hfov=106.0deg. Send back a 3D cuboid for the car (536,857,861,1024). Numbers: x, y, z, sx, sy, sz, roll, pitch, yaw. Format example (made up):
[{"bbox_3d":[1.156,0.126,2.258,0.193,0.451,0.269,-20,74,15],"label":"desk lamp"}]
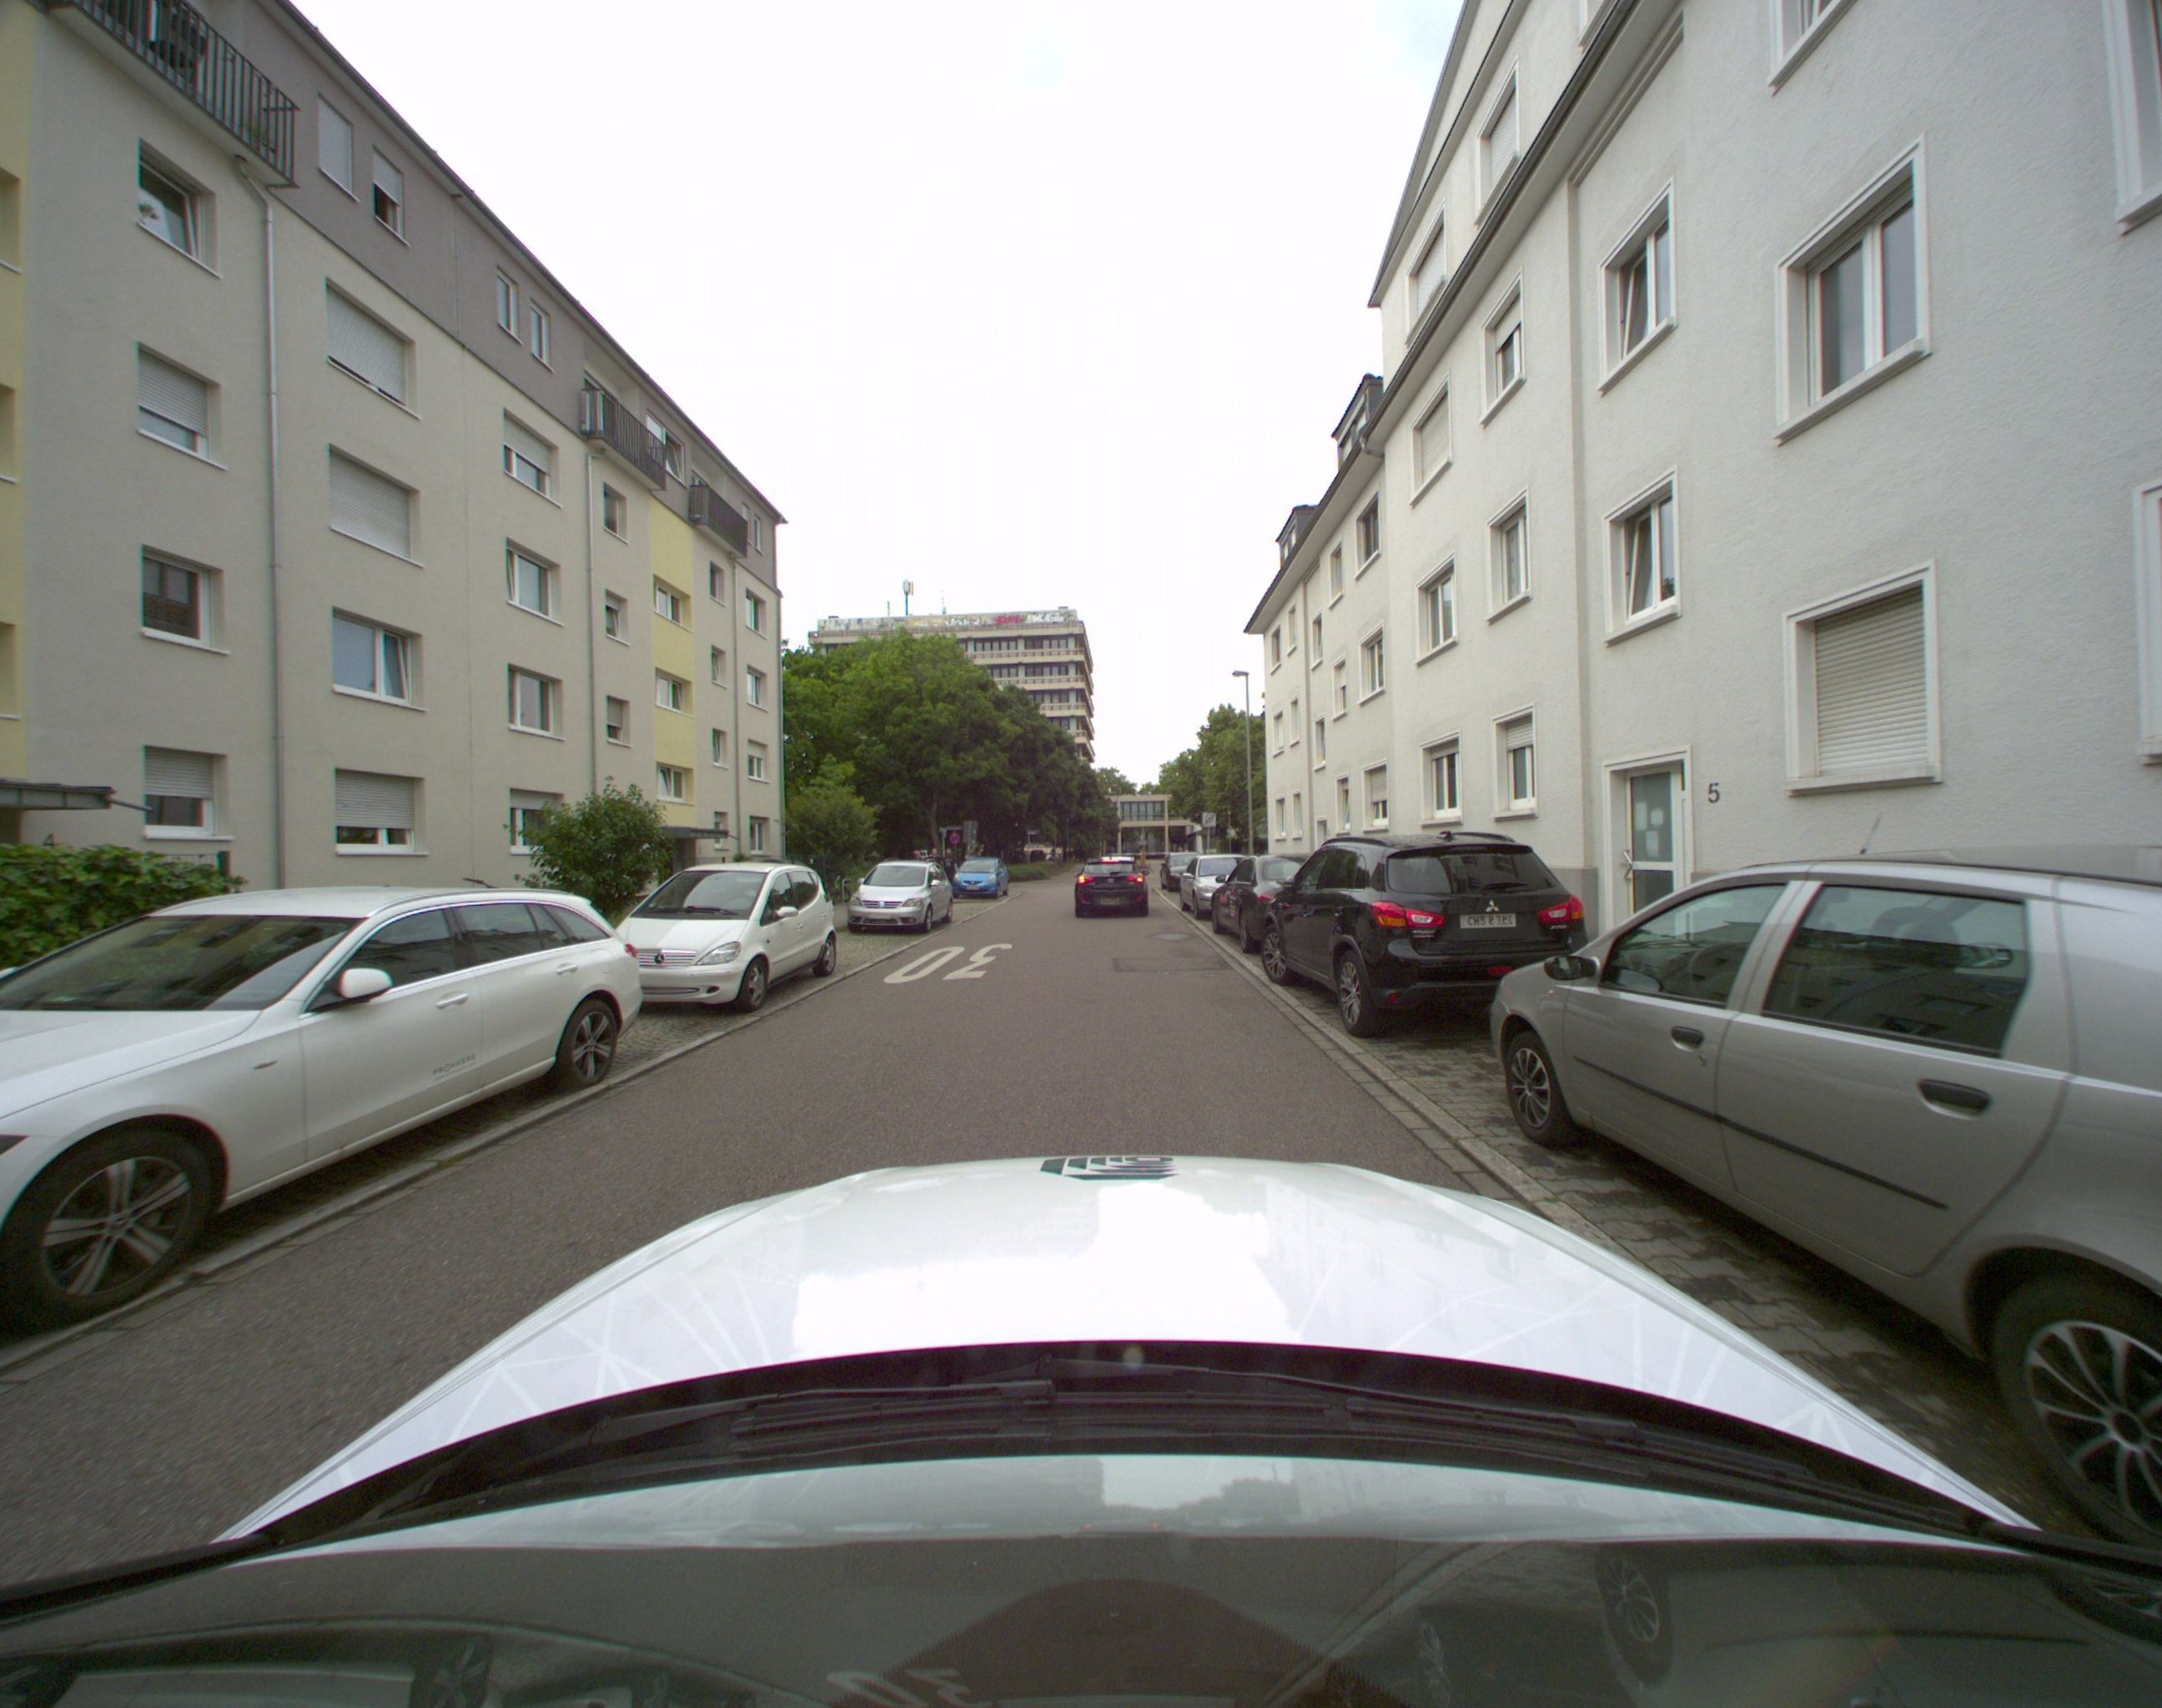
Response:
[{"bbox_3d":[-4.417,0.869,10.363,1.888,1.599,4.521,1,0,1],"label":"car"}]

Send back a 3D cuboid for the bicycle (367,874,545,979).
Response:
[{"bbox_3d":[-8.295,0.912,10.960,0.728,1.211,2.091,-1,0,2],"label":"bicycle"}]

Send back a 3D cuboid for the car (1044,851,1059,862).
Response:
[{"bbox_3d":[-3.738,0.257,102.914,1.659,1.333,3.397,-1,0,2],"label":"car"}]

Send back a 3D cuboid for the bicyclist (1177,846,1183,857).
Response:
[{"bbox_3d":[13.670,-0.335,112.500,0.690,1.444,0.796,-1,0,3],"label":"bicyclist"}]

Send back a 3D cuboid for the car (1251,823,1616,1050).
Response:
[{"bbox_3d":[2.976,0.595,7.938,1.814,1.603,4.091,-1,0,1],"label":"car"}]

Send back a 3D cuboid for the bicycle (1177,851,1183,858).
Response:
[{"bbox_3d":[13.666,0.088,112.491,0.690,0.997,1.736,-1,0,3],"label":"bicycle"}]

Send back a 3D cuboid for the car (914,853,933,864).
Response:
[{"bbox_3d":[-20.033,0.506,103.782,1.659,1.333,3.397,-1,0,2],"label":"car"}]

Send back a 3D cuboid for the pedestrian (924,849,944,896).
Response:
[{"bbox_3d":[-5.913,0.736,32.736,0.602,1.831,0.676,-1,0,3],"label":"pedestrian"}]

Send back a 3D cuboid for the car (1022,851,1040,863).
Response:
[{"bbox_3d":[-5.439,0.334,89.509,1.659,1.333,3.397,-1,0,2],"label":"car"}]

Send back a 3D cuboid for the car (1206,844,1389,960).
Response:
[{"bbox_3d":[3.245,0.640,13.206,1.814,1.519,4.675,-1,0,1],"label":"car"}]

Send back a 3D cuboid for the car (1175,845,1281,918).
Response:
[{"bbox_3d":[3.394,0.582,19.621,1.813,1.519,4.675,-1,0,1],"label":"car"}]

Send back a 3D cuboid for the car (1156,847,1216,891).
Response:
[{"bbox_3d":[3.950,0.530,31.391,1.813,1.519,4.675,-1,0,1],"label":"car"}]

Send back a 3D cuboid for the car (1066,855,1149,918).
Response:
[{"bbox_3d":[0.706,0.764,21.078,1.895,1.433,4.235,-1,0,3],"label":"car"}]

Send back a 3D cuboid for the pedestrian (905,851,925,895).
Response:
[{"bbox_3d":[-6.512,0.731,31.995,0.598,1.713,0.649,-1,0,3],"label":"pedestrian"}]

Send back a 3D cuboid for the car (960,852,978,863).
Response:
[{"bbox_3d":[-14.143,0.466,103.295,1.659,1.333,3.397,-1,0,2],"label":"car"}]

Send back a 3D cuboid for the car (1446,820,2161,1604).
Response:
[{"bbox_3d":[3.023,0.659,2.833,1.813,1.503,4.094,-2,0,3],"label":"car"}]

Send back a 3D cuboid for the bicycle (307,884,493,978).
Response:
[{"bbox_3d":[-9.178,0.991,11.120,0.728,1.078,2.091,-1,0,2],"label":"bicycle"}]

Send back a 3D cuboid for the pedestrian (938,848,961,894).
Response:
[{"bbox_3d":[-5.241,0.673,32.499,0.711,1.831,0.798,-1,0,3],"label":"pedestrian"}]

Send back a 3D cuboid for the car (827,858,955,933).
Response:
[{"bbox_3d":[-4.241,0.865,18.889,1.987,1.541,4.000,0,0,1],"label":"car"}]

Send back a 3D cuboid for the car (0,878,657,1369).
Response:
[{"bbox_3d":[-4.465,0.940,4.455,1.889,1.452,4.520,1,0,0],"label":"car"}]

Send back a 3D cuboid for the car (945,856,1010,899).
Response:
[{"bbox_3d":[-3.873,0.844,31.140,1.987,1.541,3.999,0,0,0],"label":"car"}]

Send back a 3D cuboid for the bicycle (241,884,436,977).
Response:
[{"bbox_3d":[-10.126,0.996,11.239,0.728,1.078,2.091,-1,0,2],"label":"bicycle"}]
